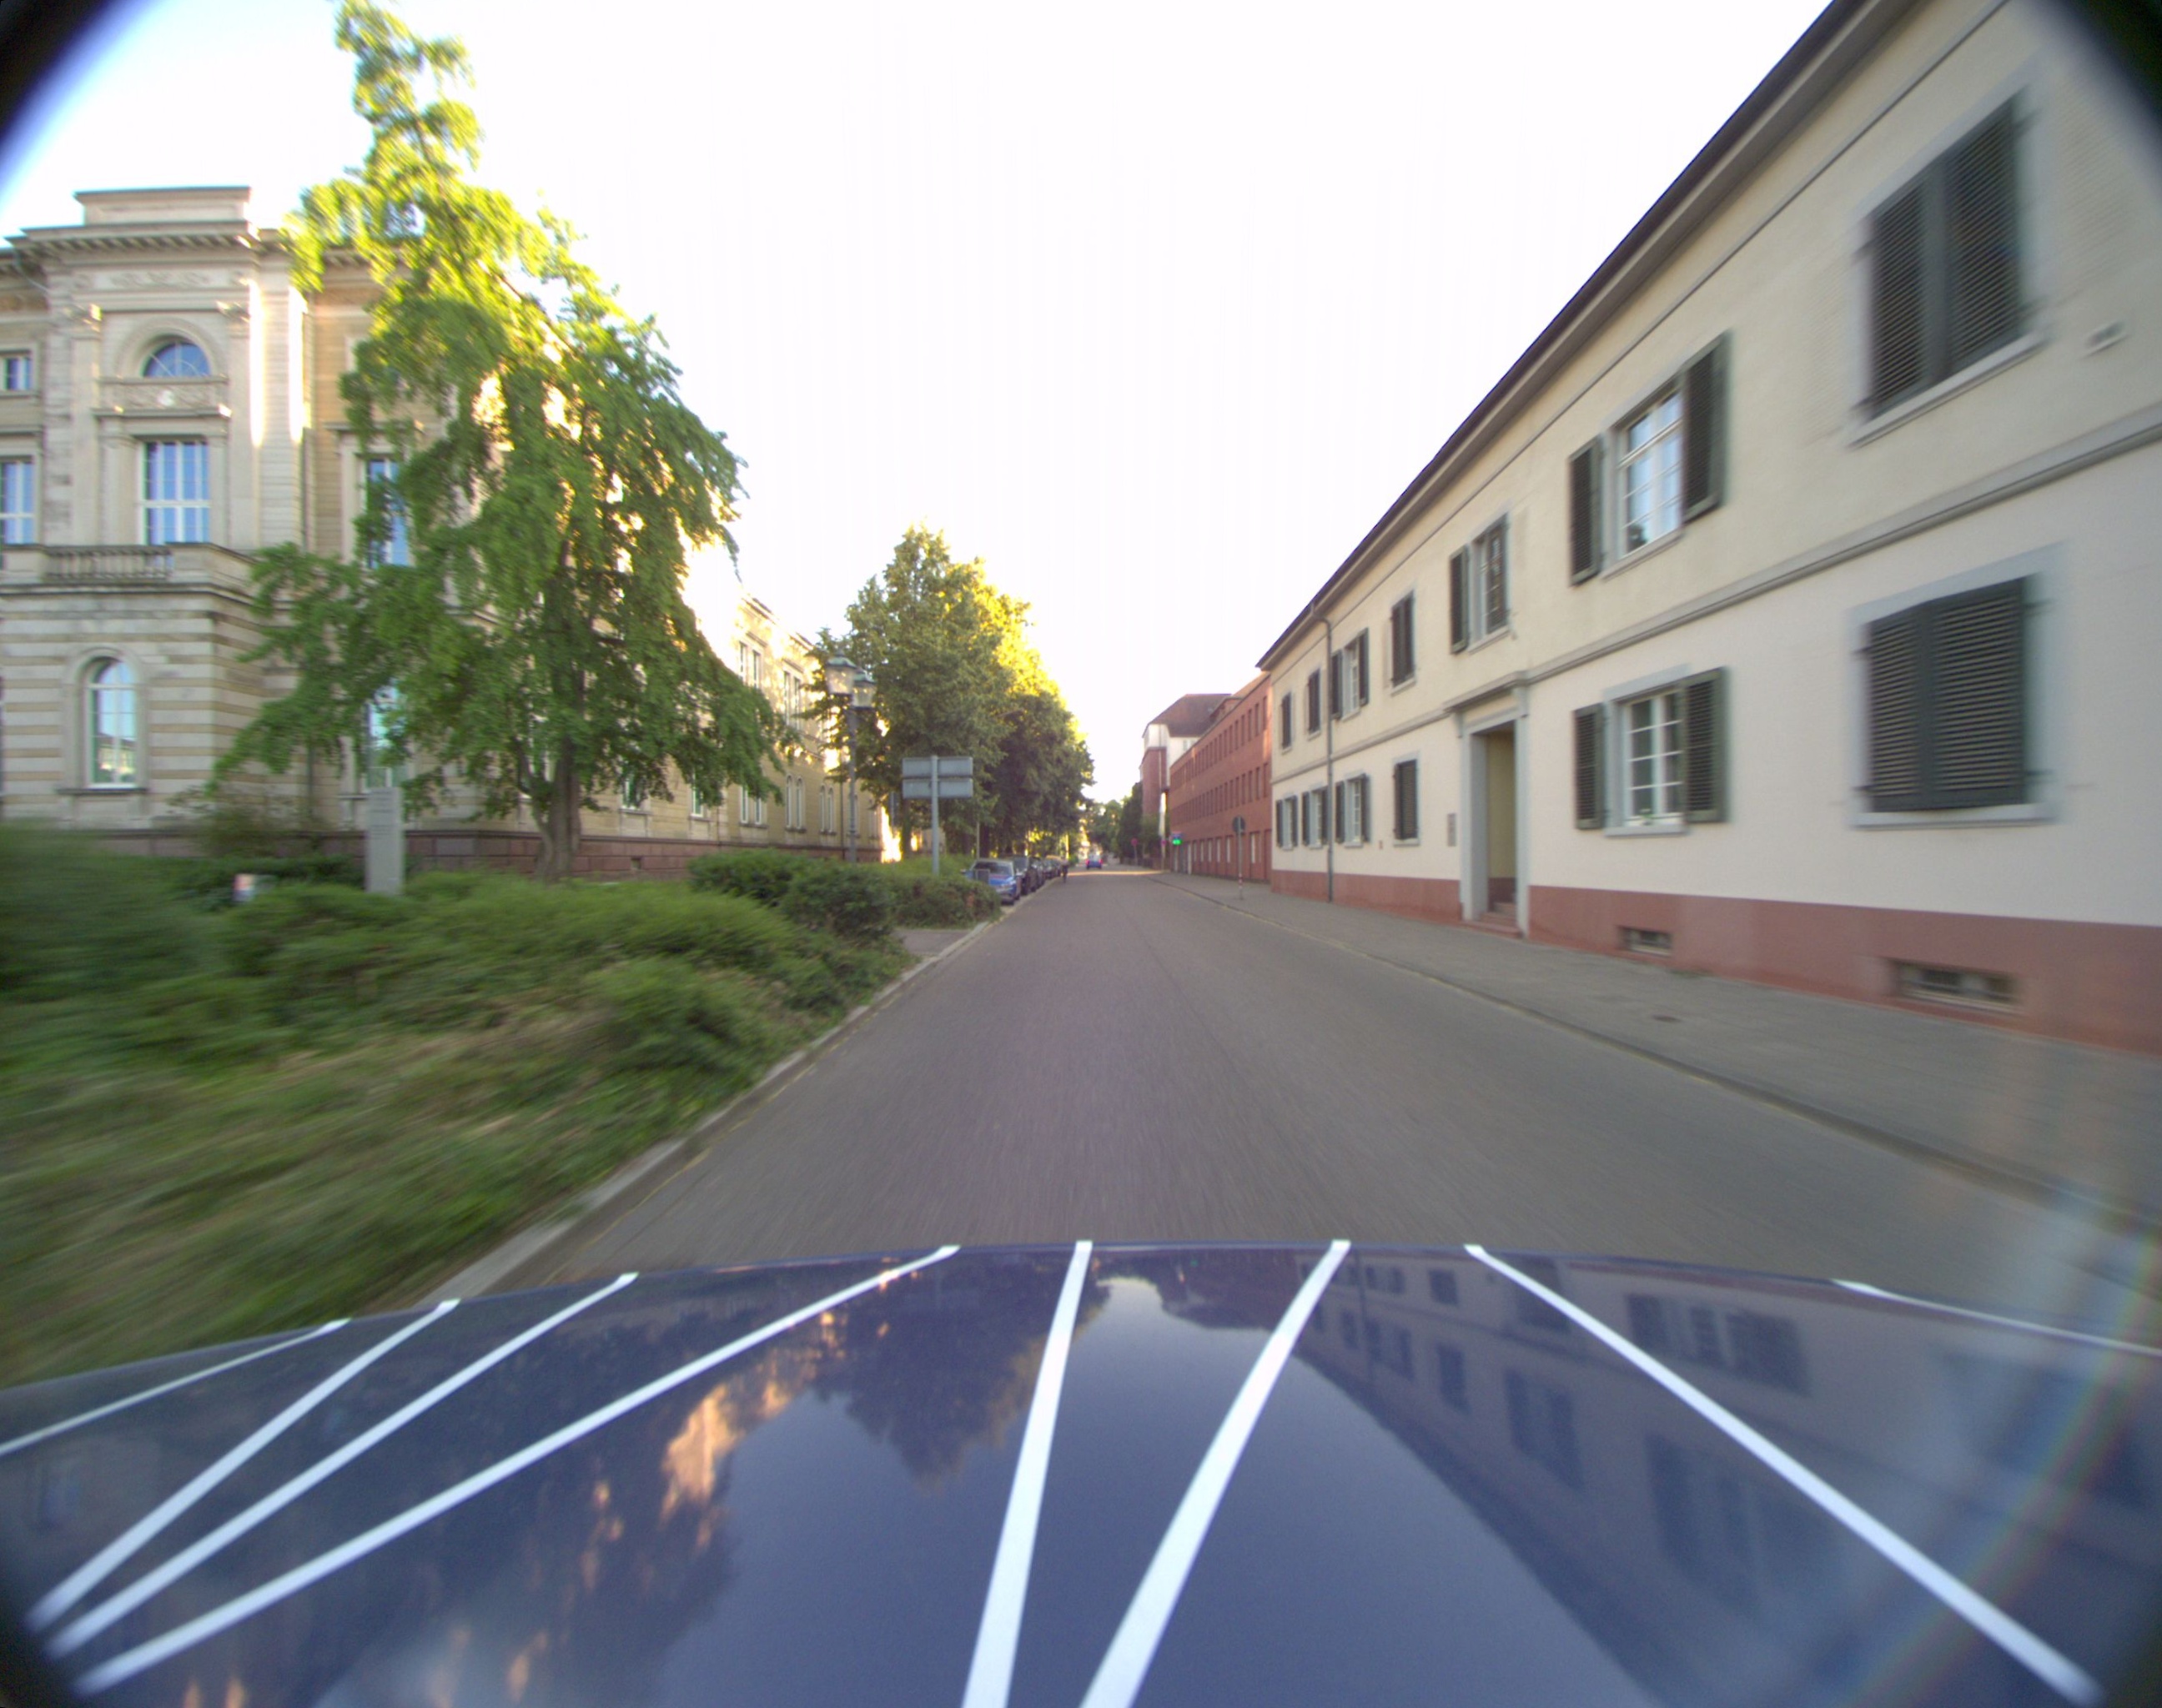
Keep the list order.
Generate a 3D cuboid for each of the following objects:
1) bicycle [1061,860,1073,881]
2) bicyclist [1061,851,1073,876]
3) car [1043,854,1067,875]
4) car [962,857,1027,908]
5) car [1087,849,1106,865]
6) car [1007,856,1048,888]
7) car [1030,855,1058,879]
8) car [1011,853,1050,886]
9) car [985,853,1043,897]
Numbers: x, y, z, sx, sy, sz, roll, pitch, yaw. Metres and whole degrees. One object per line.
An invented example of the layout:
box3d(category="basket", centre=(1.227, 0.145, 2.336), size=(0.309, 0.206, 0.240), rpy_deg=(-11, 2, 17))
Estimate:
box3d(category="bicycle", centre=(-0.909, 1.036, 48.143), size=(0.753, 1.245, 2.209), rpy_deg=(0, 0, -2))
box3d(category="bicyclist", centre=(-0.886, 0.609, 48.161), size=(0.753, 1.603, 1.038), rpy_deg=(0, 0, -2))
box3d(category="car", centre=(-2.198, 0.895, 64.904), size=(1.728, 1.525, 4.622), rpy_deg=(4, 1, 0))
box3d(category="car", centre=(-2.897, 0.912, 26.318), size=(1.728, 1.479, 4.610), rpy_deg=(3, 0, -1))
box3d(category="car", centre=(1.949, 0.404, 95.302), size=(1.999, 1.863, 5.108), rpy_deg=(-1, -2, -3))
box3d(category="car", centre=(-2.638, 0.865, 38.258), size=(1.728, 1.529, 4.189), rpy_deg=(0, 0, 0))
box3d(category="car", centre=(-2.603, 0.899, 54.480), size=(1.739, 1.498, 4.521), rpy_deg=(3, 1, 0))
box3d(category="car", centre=(-2.788, 0.852, 43.157), size=(1.811, 1.641, 4.419), rpy_deg=(4, 0, 0))
box3d(category="car", centre=(-2.739, 0.824, 32.066), size=(1.728, 1.642, 4.713), rpy_deg=(0, 1, 4))
